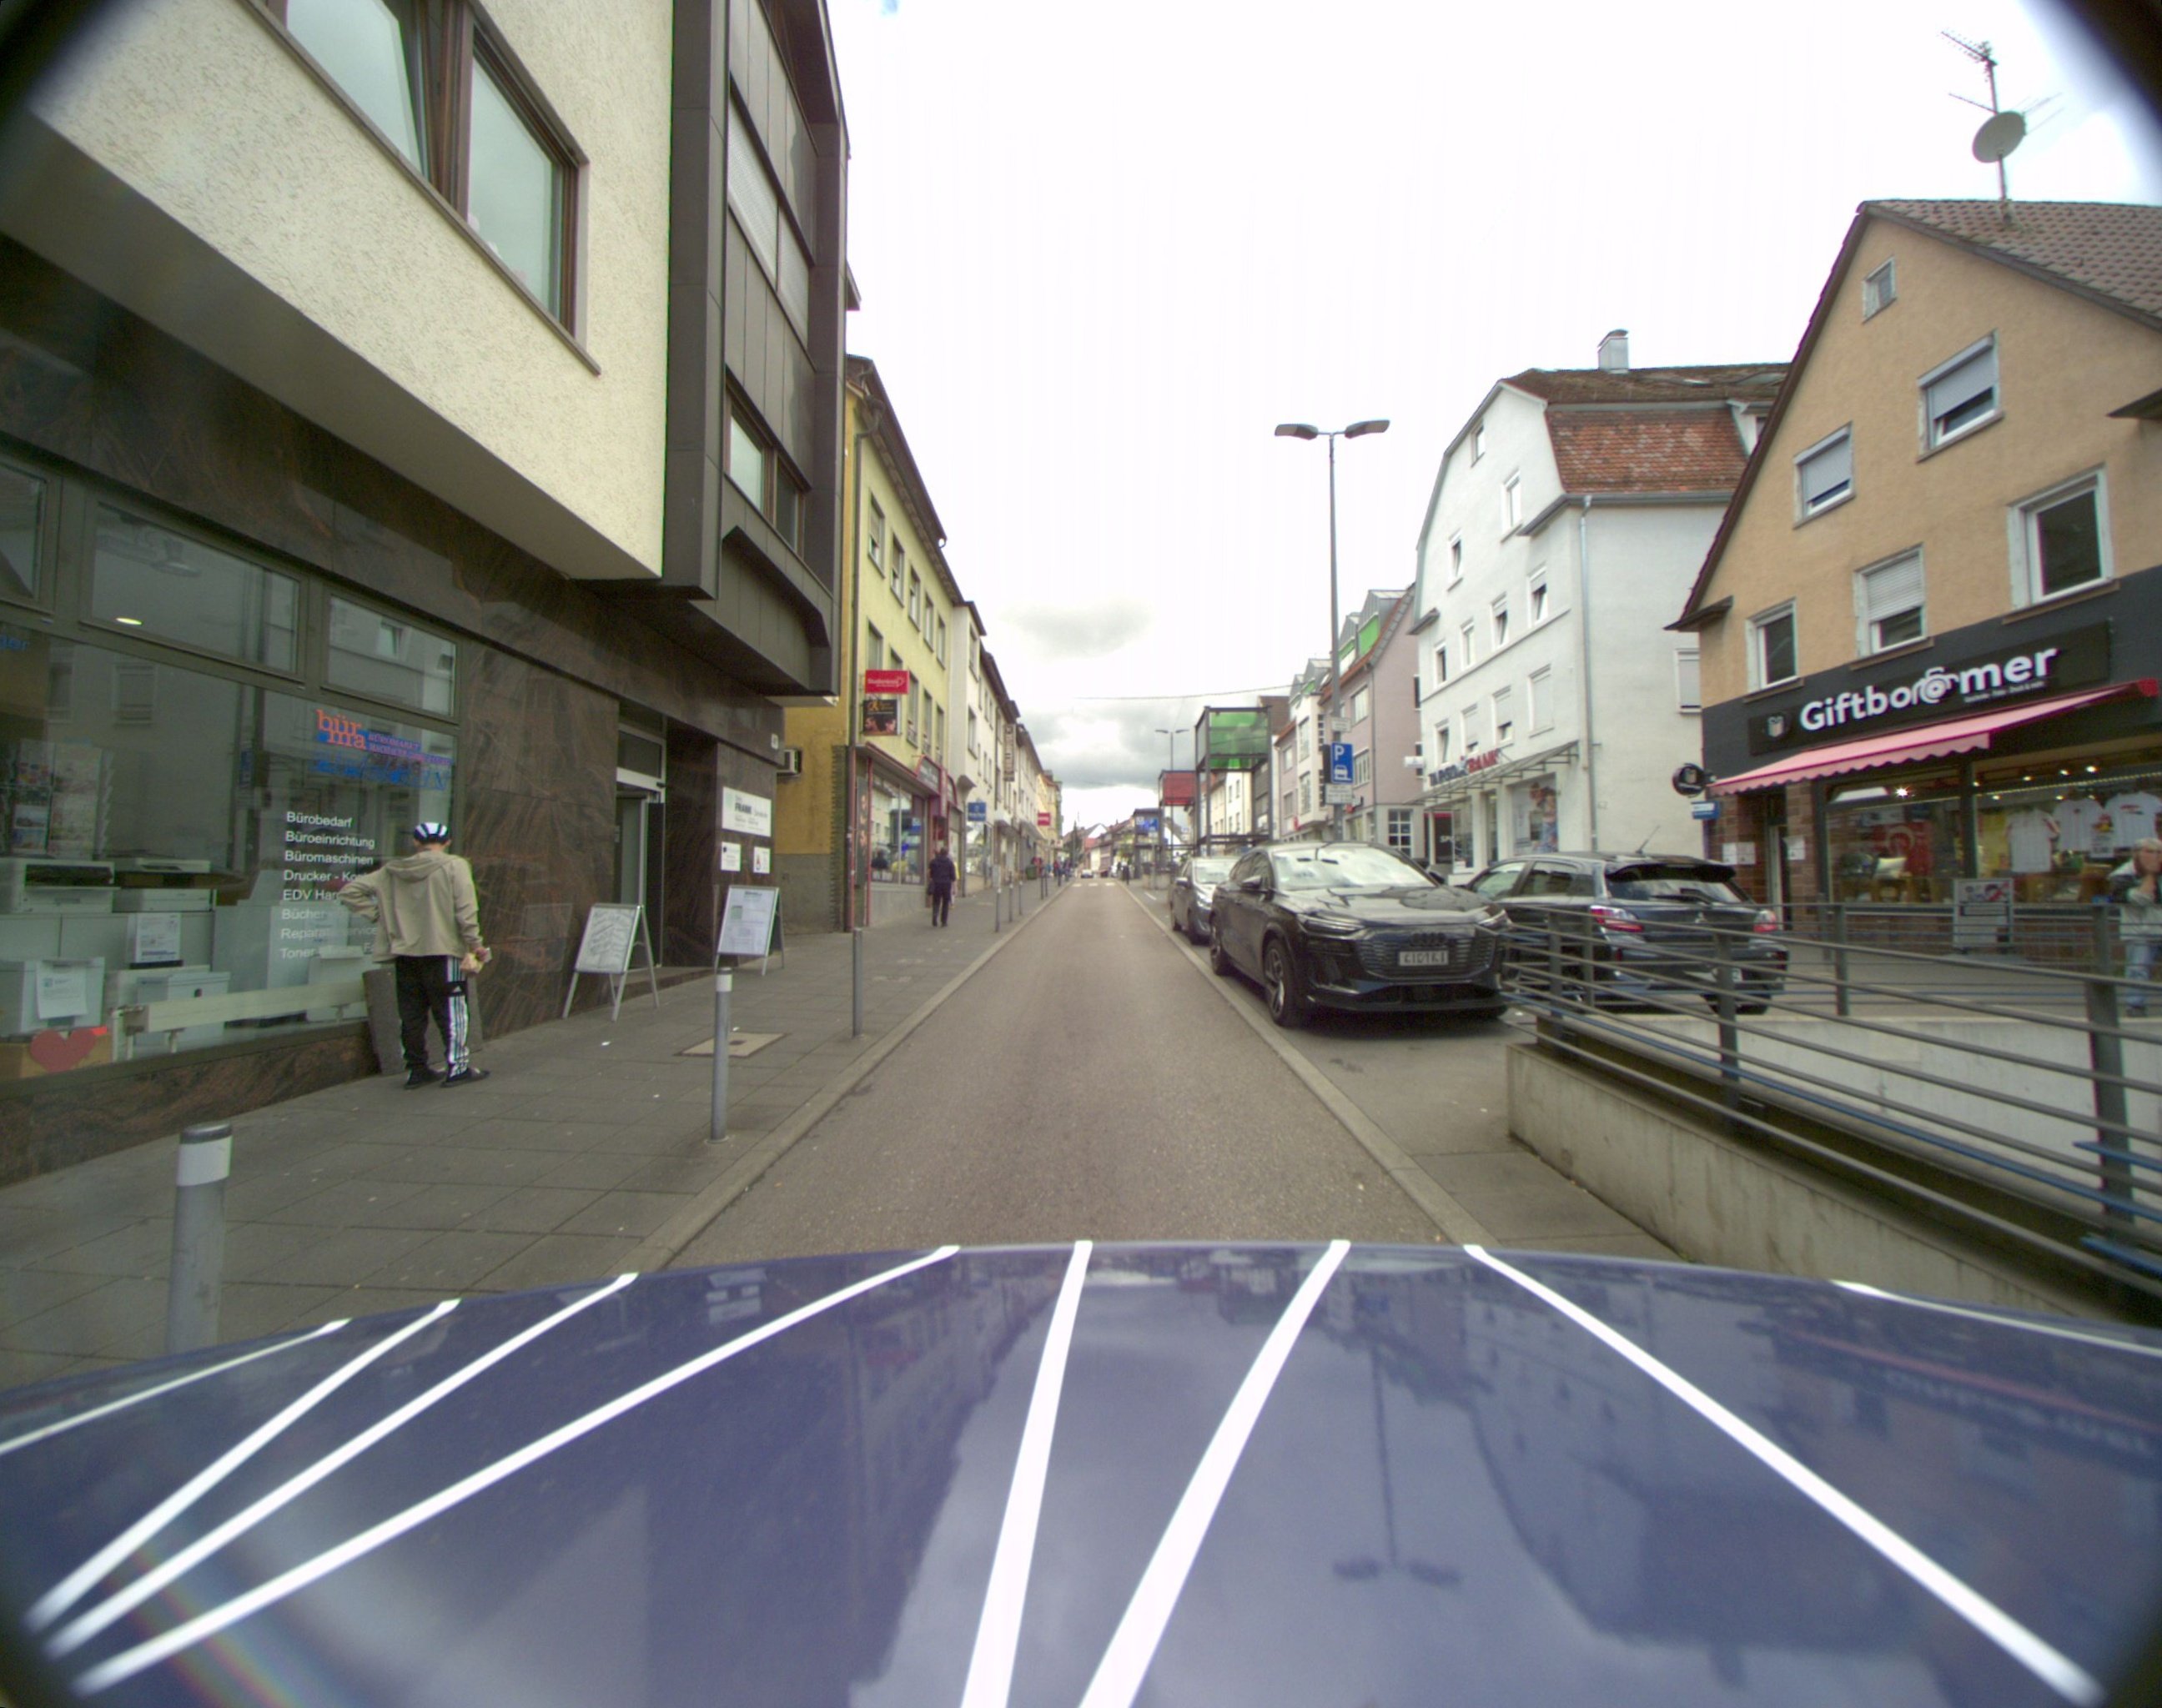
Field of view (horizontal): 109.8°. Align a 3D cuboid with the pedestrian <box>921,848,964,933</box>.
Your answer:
[{"bbox_3d":[-2.918,0.758,16.042,0.713,1.743,0.787,1,0,1],"label":"pedestrian"}]

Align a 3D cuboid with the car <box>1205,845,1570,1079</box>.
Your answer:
[{"bbox_3d":[2.576,0.780,7.669,1.961,1.630,4.314,-2,0,1],"label":"car"}]

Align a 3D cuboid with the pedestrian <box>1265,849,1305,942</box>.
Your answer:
[{"bbox_3d":[3.765,0.745,14.083,0.535,1.662,0.901,-1,0,4],"label":"pedestrian"}]

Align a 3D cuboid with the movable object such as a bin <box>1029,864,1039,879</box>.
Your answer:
[{"bbox_3d":[-3.359,1.251,54.338,0.670,1.024,0.560,0,0,1],"label":"movable object such as a bin"}]

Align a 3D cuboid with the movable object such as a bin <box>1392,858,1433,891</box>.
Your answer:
[{"bbox_3d":[14.171,0.888,32.539,1.286,1.368,1.067,-1,0,1],"label":"movable object such as a bin"}]

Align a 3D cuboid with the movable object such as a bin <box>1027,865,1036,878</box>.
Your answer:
[{"bbox_3d":[-3.485,1.231,53.728,0.568,0.951,0.498,0,0,1],"label":"movable object such as a bin"}]

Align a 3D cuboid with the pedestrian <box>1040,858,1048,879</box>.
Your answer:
[{"bbox_3d":[-3.061,1.178,62.907,0.627,1.715,0.607,2,0,-4],"label":"pedestrian"}]

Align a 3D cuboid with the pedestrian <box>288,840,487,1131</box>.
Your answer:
[{"bbox_3d":[-4.262,0.776,4.712,0.665,1.679,0.543,3,0,-5],"label":"pedestrian"}]

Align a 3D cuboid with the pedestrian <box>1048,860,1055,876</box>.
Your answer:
[{"bbox_3d":[-2.979,1.401,76.391,0.627,1.620,0.607,-2,1,-4],"label":"pedestrian"}]

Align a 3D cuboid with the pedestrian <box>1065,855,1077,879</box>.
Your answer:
[{"bbox_3d":[-0.713,0.918,53.995,0.740,1.660,0.786,2,0,-8],"label":"pedestrian"}]

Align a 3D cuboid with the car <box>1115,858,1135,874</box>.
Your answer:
[{"bbox_3d":[4.238,1.102,73.708,1.754,1.452,3.601,-2,0,2],"label":"car"}]

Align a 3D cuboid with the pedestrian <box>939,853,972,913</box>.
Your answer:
[{"bbox_3d":[-3.521,0.792,21.319,0.713,1.621,0.835,2,0,1],"label":"pedestrian"}]

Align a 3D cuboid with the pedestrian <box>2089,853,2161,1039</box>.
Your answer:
[{"bbox_3d":[10.030,0.830,7.077,0.644,1.679,0.668,0,0,41],"label":"pedestrian"}]

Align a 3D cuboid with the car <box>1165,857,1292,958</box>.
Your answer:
[{"bbox_3d":[2.547,0.861,13.906,1.624,1.523,3.670,-2,0,1],"label":"car"}]

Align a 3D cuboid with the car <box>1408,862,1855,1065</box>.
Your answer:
[{"bbox_3d":[5.139,0.882,7.881,1.743,1.467,3.883,3,0,0],"label":"car"}]

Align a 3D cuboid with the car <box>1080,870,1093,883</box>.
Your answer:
[{"bbox_3d":[0.823,3.122,106.091,1.741,1.608,3.843,-2,0,1],"label":"car"}]

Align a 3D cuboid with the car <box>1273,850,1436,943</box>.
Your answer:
[{"bbox_3d":[5.196,0.726,15.075,1.743,1.534,4.193,-2,0,1],"label":"car"}]

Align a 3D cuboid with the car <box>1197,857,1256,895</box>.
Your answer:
[{"bbox_3d":[5.954,0.862,31.495,1.573,1.466,3.855,0,0,-2],"label":"car"}]

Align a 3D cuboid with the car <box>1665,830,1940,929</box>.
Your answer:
[{"bbox_3d":[15.652,0.551,16.684,4.080,1.862,1.884,-3,0,3],"label":"car"}]

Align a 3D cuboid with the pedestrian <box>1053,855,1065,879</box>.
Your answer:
[{"bbox_3d":[-1.576,0.890,53.811,0.740,1.660,0.627,2,0,-8],"label":"pedestrian"}]

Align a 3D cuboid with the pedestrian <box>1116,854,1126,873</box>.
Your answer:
[{"bbox_3d":[3.618,0.869,68.941,0.759,1.715,0.756,3,0,-4],"label":"pedestrian"}]

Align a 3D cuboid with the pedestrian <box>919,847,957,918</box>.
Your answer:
[{"bbox_3d":[-3.623,0.712,19.322,0.713,1.743,0.785,4,0,1],"label":"pedestrian"}]
